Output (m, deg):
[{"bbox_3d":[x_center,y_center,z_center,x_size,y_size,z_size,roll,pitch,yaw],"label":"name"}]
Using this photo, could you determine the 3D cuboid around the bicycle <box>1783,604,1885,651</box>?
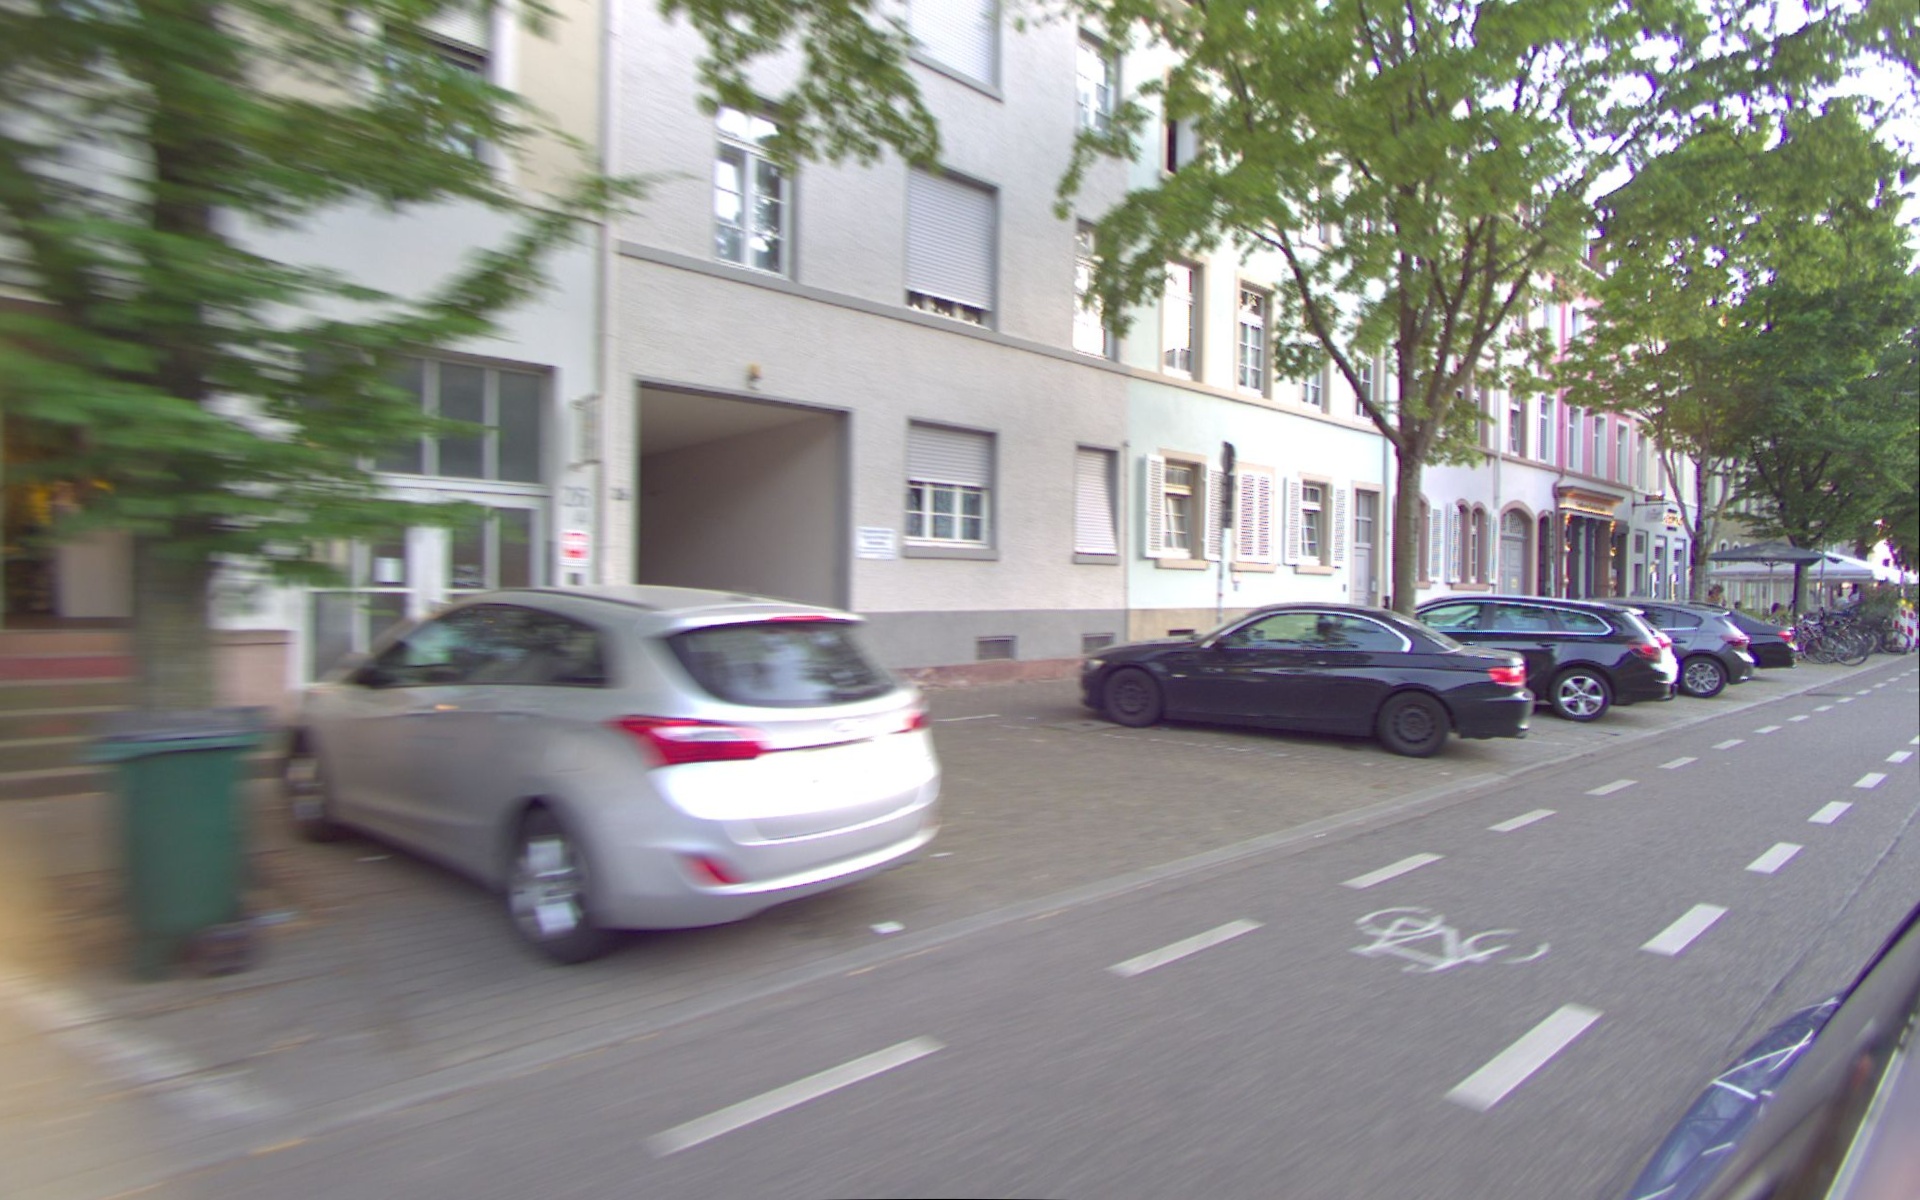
[{"bbox_3d":[22.612,0.692,26.207,0.598,1.044,1.890,0,4,-42],"label":"bicycle"}]

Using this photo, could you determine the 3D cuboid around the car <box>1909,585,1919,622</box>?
[{"bbox_3d":[46.746,0.278,46.387,4.652,1.708,1.976,5,3,44],"label":"car"}]

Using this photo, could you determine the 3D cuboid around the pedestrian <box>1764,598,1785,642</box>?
[{"bbox_3d":[24.695,0.601,30.687,0.501,1.308,0.591,0,0,39],"label":"pedestrian"}]

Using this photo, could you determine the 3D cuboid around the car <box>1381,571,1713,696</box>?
[{"bbox_3d":[8.751,0.407,15.545,4.088,1.488,1.970,4,3,25],"label":"car"}]

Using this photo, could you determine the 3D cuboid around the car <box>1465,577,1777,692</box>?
[{"bbox_3d":[10.874,0.475,16.970,4.100,1.488,1.803,4,3,32],"label":"car"}]

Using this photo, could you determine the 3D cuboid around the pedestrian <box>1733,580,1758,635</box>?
[{"bbox_3d":[25.773,0.249,33.206,0.548,1.785,0.707,0,0,32],"label":"pedestrian"}]

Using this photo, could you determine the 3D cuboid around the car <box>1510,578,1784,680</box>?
[{"bbox_3d":[12.537,0.447,18.736,3.935,1.488,1.978,5,3,33],"label":"car"}]

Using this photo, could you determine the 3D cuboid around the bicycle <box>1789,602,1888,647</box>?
[{"bbox_3d":[23.574,0.640,27.178,0.598,1.044,1.890,0,4,-42],"label":"bicycle"}]

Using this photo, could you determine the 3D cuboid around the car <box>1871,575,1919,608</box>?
[{"bbox_3d":[55.725,-0.430,57.918,4.942,1.849,2.184,3,2,32],"label":"car"}]

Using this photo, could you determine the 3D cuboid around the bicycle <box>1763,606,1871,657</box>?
[{"bbox_3d":[20.602,0.744,24.358,0.581,1.044,1.866,0,4,-43],"label":"bicycle"}]

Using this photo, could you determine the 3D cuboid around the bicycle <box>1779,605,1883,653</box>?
[{"bbox_3d":[22.093,0.714,25.687,0.598,1.044,1.890,0,4,-42],"label":"bicycle"}]

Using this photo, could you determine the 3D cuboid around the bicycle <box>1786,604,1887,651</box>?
[{"bbox_3d":[23.068,0.703,26.661,0.598,1.044,1.890,0,4,-42],"label":"bicycle"}]

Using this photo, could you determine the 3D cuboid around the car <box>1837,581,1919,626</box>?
[{"bbox_3d":[41.084,0.184,43.847,4.111,1.829,1.994,3,2,21],"label":"car"}]

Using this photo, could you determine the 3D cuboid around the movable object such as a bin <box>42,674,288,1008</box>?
[{"bbox_3d":[-3.074,0.856,3.911,0.820,0.993,0.583,5,4,39],"label":"movable object such as a bin"}]

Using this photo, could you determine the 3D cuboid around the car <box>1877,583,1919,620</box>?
[{"bbox_3d":[47.792,0.181,49.113,1.973,1.708,4.658,1,3,-41],"label":"car"}]

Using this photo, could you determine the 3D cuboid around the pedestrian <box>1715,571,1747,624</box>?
[{"bbox_3d":[26.500,-0.099,34.802,0.696,1.785,0.710,0,0,22],"label":"pedestrian"}]

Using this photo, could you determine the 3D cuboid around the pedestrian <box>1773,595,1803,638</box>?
[{"bbox_3d":[25.657,0.508,31.376,0.494,1.308,0.600,0,1,-37],"label":"pedestrian"}]

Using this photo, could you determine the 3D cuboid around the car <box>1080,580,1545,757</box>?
[{"bbox_3d":[3.600,0.555,10.636,4.222,1.409,1.998,2,2,26],"label":"car"}]

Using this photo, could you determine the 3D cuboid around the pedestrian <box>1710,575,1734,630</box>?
[{"bbox_3d":[25.221,0.082,33.511,0.548,1.785,0.843,0,0,32],"label":"pedestrian"}]

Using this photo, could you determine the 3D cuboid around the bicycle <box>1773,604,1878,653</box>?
[{"bbox_3d":[21.560,0.695,25.242,0.598,1.044,1.890,0,4,-42],"label":"bicycle"}]

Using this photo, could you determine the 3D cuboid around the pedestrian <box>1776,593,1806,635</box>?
[{"bbox_3d":[27.380,0.454,33.363,0.546,1.322,0.710,1,1,22],"label":"pedestrian"}]

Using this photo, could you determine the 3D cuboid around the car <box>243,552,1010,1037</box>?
[{"bbox_3d":[-2.028,0.572,5.491,4.244,1.568,1.991,3,3,39],"label":"car"}]

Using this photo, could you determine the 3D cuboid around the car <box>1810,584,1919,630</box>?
[{"bbox_3d":[34.989,0.278,38.272,3.932,1.572,1.692,3,2,24],"label":"car"}]

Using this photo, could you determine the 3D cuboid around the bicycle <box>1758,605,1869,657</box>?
[{"bbox_3d":[20.153,0.717,23.944,0.524,1.044,1.907,0,4,-42],"label":"bicycle"}]

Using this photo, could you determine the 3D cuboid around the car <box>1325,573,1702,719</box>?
[{"bbox_3d":[7.193,0.493,13.624,4.088,1.488,1.998,4,3,25],"label":"car"}]

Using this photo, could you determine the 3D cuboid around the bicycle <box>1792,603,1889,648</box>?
[{"bbox_3d":[24.034,0.681,27.647,0.598,1.044,1.890,0,4,-42],"label":"bicycle"}]

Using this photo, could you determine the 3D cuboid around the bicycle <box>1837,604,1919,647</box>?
[{"bbox_3d":[25.652,0.701,28.236,0.547,1.044,1.682,0,4,-42],"label":"bicycle"}]

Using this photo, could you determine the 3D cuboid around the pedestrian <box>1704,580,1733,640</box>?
[{"bbox_3d":[22.991,0.298,30.671,0.878,1.785,0.551,0,0,-41],"label":"pedestrian"}]

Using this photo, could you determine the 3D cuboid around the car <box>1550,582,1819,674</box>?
[{"bbox_3d":[14.296,0.483,20.311,4.142,1.444,1.804,4,3,31],"label":"car"}]

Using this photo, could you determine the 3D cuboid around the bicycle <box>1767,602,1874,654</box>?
[{"bbox_3d":[21.070,0.663,24.808,0.663,1.080,1.890,0,4,-42],"label":"bicycle"}]

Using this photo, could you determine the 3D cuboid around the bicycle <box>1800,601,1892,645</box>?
[{"bbox_3d":[24.610,0.628,28.149,0.598,1.044,1.819,0,4,-42],"label":"bicycle"}]
